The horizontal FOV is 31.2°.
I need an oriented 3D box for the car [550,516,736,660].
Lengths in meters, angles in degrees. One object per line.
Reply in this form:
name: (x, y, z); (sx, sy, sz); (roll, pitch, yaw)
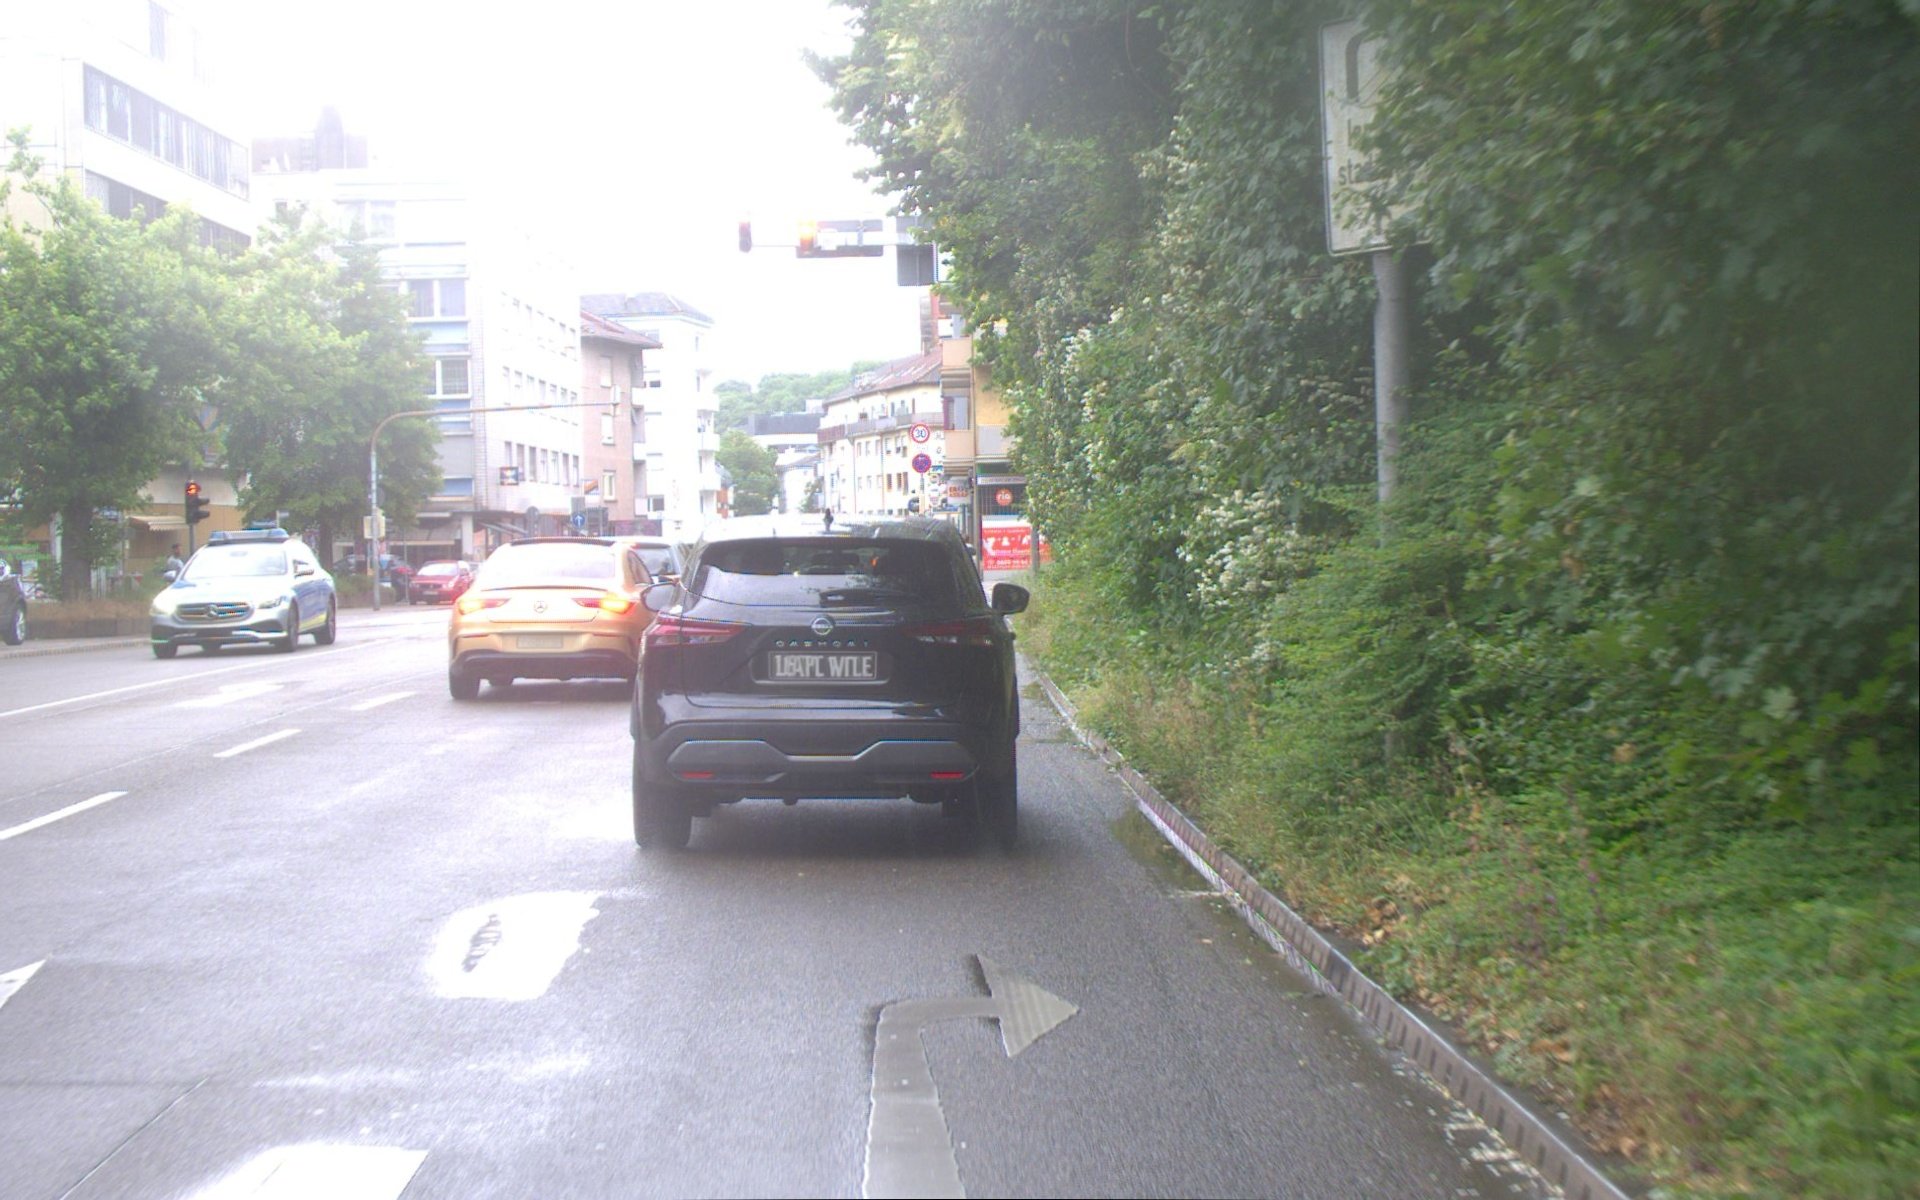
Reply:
car: (-3.530, -0.172, 38.880); (1.744, 1.482, 4.162); (-2, 1, -1)

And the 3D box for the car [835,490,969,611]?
car: (-0.987, -0.889, 60.468); (1.994, 2.007, 4.000); (-1, 1, 4)

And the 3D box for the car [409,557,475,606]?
car: (-16.854, -0.623, 111.984); (1.672, 1.473, 3.608); (-3, 1, -2)

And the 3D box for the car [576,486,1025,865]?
car: (-0.770, 0.287, 17.291); (1.959, 1.647, 4.001); (-1, 1, -2)

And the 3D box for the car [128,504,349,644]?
car: (-9.744, -0.380, 46.784); (1.993, 1.744, 4.808); (-2, 1, -1)

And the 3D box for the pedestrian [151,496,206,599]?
pedestrian: (-15.672, -1.043, 68.960); (0.940, 2.007, 0.887); (-3, 1, -9)

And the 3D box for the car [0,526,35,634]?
car: (-15.872, -0.300, 53.979); (1.539, 1.700, 4.288); (-1, 1, 0)

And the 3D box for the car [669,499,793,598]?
car: (-3.531, -0.830, 53.601); (1.767, 1.439, 4.001); (-2, 2, -2)

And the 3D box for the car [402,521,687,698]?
car: (-3.756, 0.031, 31.871); (2.066, 1.459, 4.587); (-1, 1, 0)
